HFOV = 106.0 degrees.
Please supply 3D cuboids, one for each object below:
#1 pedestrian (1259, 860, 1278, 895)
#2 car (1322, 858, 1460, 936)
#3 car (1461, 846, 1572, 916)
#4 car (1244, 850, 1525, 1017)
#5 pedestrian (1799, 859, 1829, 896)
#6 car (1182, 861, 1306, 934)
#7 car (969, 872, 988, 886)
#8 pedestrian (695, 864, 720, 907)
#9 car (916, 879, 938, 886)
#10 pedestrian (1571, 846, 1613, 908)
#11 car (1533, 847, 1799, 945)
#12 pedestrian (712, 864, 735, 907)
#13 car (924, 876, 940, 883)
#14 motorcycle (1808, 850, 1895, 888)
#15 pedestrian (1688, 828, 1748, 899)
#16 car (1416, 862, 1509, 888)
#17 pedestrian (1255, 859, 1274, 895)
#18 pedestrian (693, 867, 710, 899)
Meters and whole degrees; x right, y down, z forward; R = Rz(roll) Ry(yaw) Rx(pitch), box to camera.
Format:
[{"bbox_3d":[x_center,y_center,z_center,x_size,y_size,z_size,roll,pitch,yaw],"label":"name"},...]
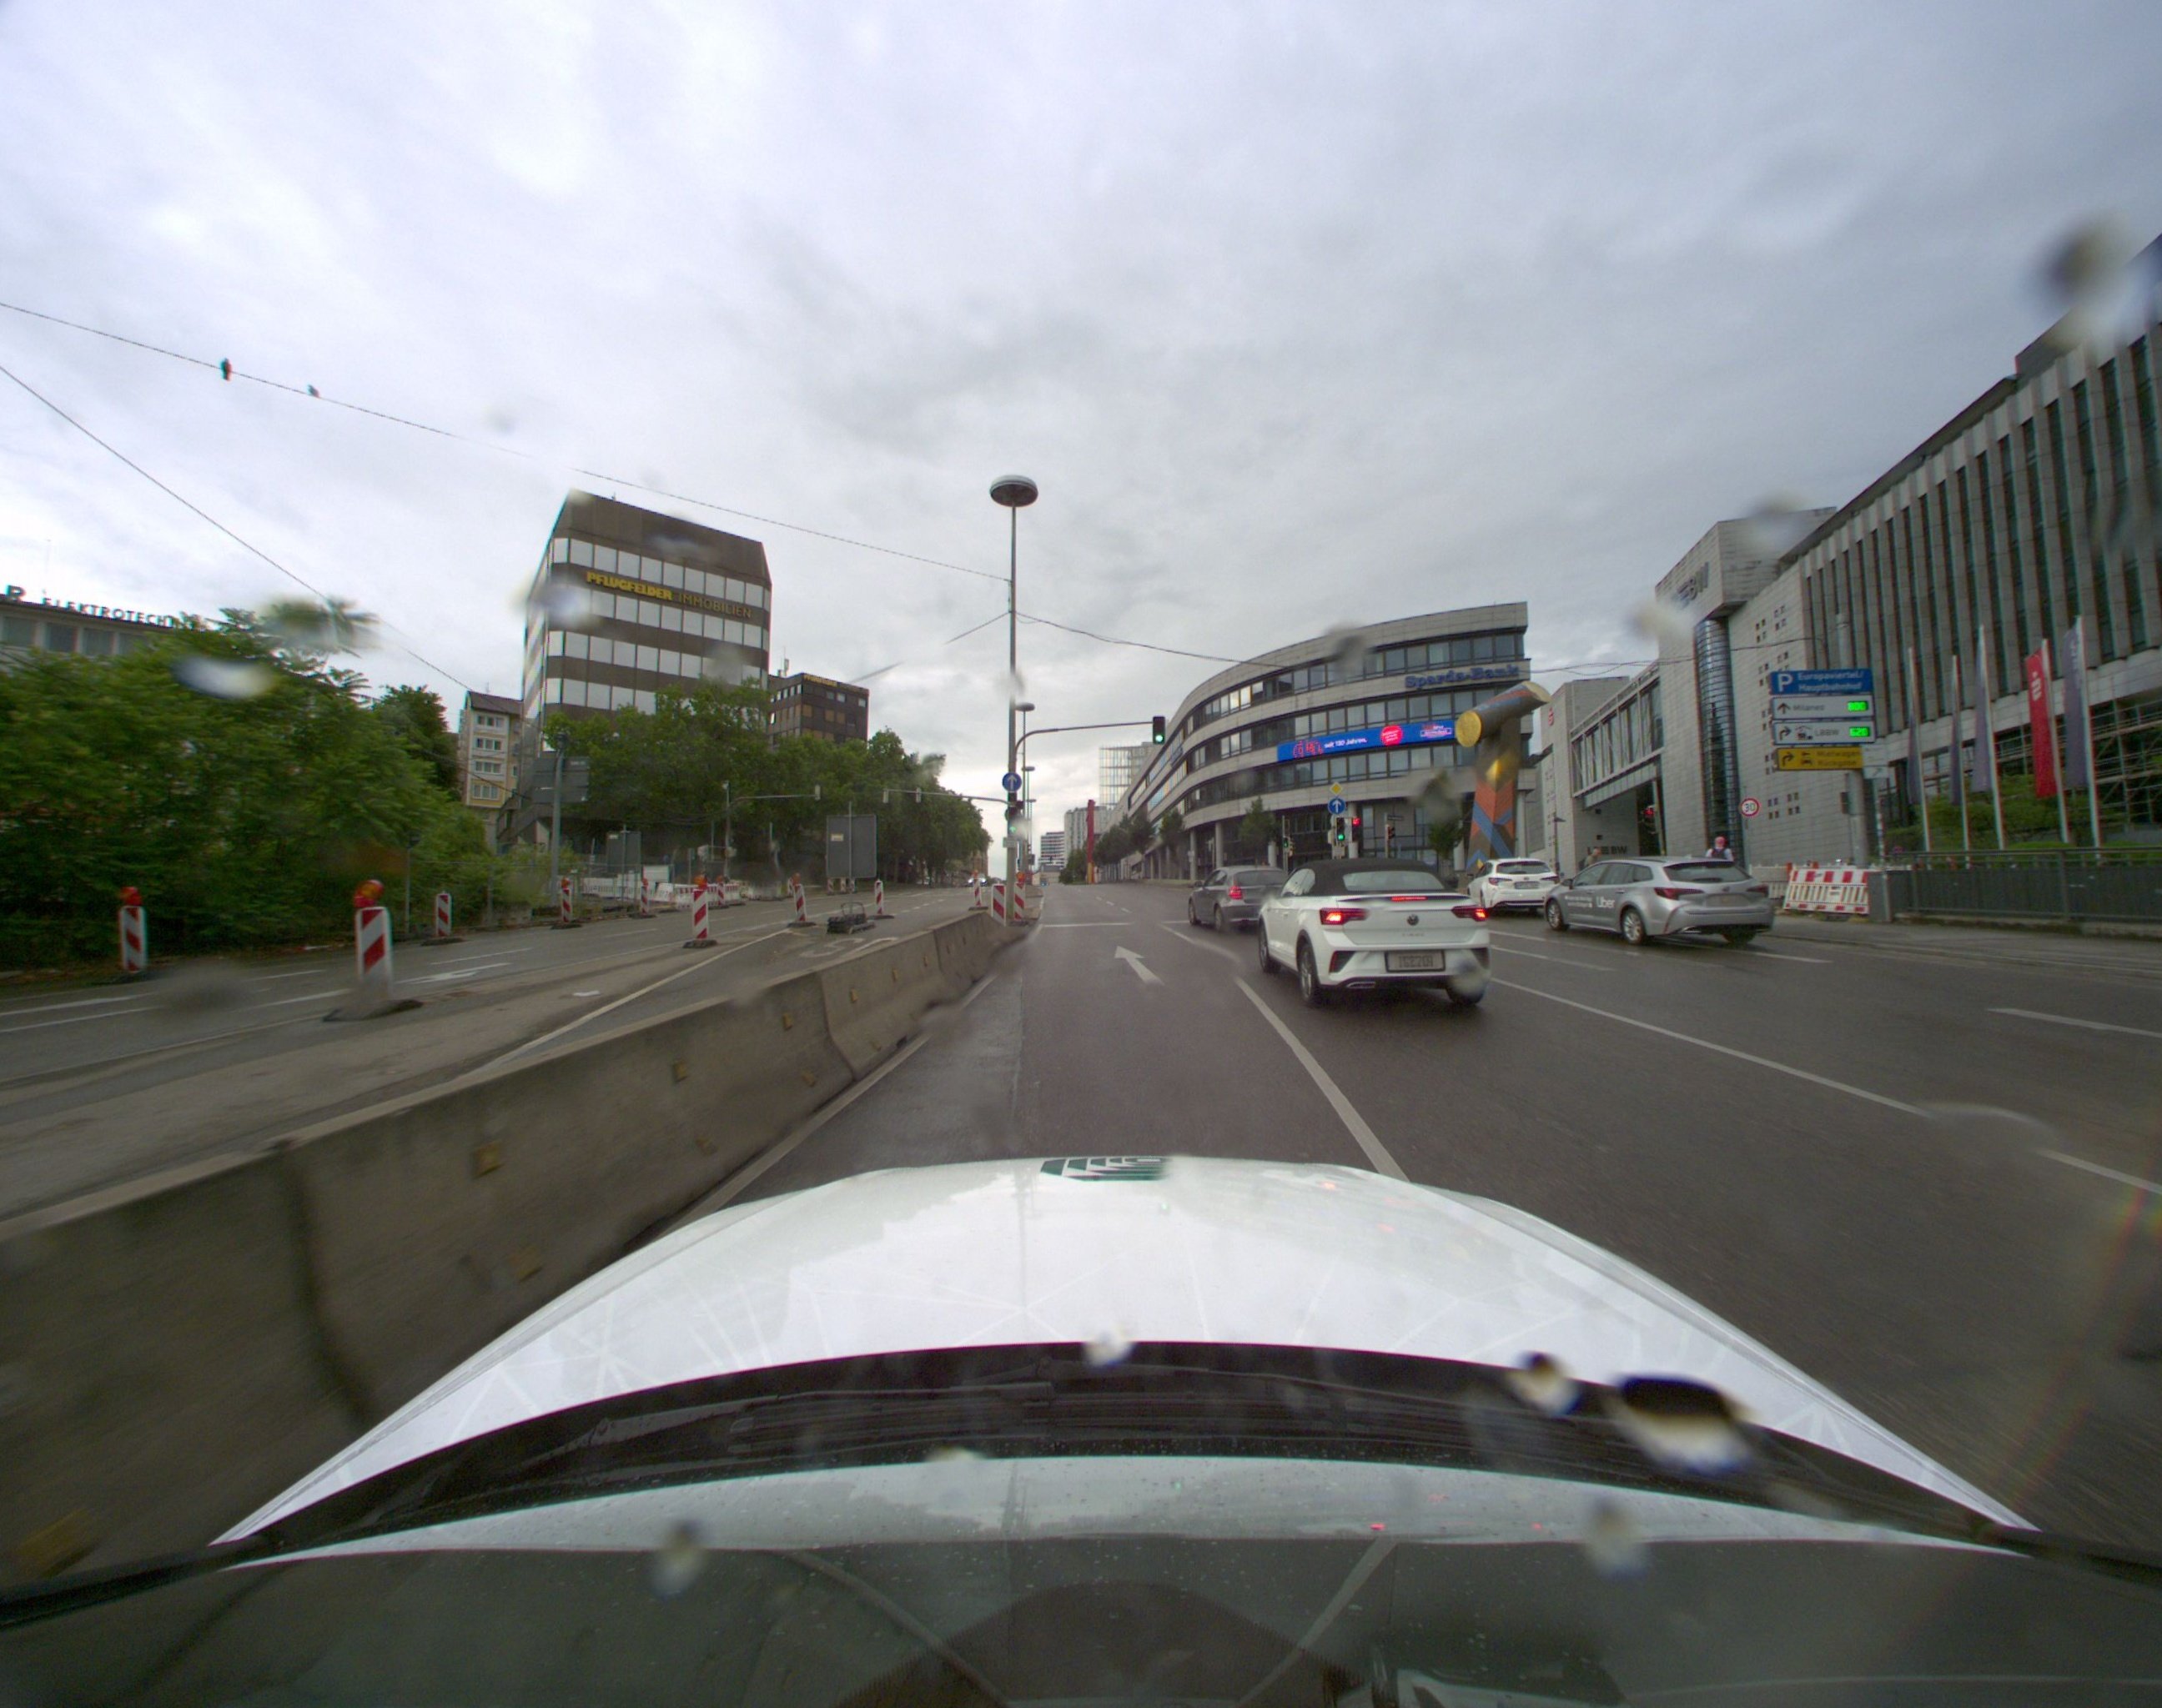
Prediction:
[{"bbox_3d":[10.334,1.300,44.907,0.833,1.905,0.736,-2,-2,23],"label":"pedestrian"},{"bbox_3d":[6.716,0.925,18.129,1.746,1.407,4.233,-4,-2,6],"label":"car"},{"bbox_3d":[11.323,0.667,21.480,1.757,1.634,4.601,-1,-1,18],"label":"car"},{"bbox_3d":[3.280,0.788,9.798,1.956,1.549,4.221,-1,-1,2],"label":"car"},{"bbox_3d":[36.432,1.193,40.489,0.958,1.818,0.785,-3,-4,38],"label":"pedestrian"},{"bbox_3d":[3.543,0.915,18.442,1.736,1.443,3.993,-1,-1,-4],"label":"car"},{"bbox_3d":[-11.265,2.721,89.536,1.757,1.461,4.354,-2,-1,-3],"label":"car"},{"bbox_3d":[-16.856,1.427,36.774,0.758,1.923,0.742,-1,-4,0],"label":"pedestrian"},{"bbox_3d":[-33.060,6.084,174.523,1.801,1.511,4.606,-5,-4,35],"label":"car"},{"bbox_3d":[17.571,0.791,28.012,0.856,2.099,0.897,2,-2,-26],"label":"pedestrian"},{"bbox_3d":[9.914,0.711,14.354,1.692,1.451,4.622,0,-2,5],"label":"car"},{"bbox_3d":[-16.106,1.437,36.739,0.670,1.902,0.775,-1,-4,0],"label":"pedestrian"},{"bbox_3d":[-36.759,6.281,201.400,3.624,1.701,1.821,-2,-3,-6],"label":"car"},{"bbox_3d":[25.512,0.484,26.971,2.564,1.081,0.633,-4,-1,-10],"label":"motorcycle"},{"bbox_3d":[15.638,0.250,20.017,0.728,1.711,0.842,0,-4,-3],"label":"pedestrian"},{"bbox_3d":[22.627,1.284,48.488,4.671,1.442,1.871,-1,-3,8],"label":"car"},{"bbox_3d":[9.915,1.270,44.007,0.833,1.905,0.866,-2,-4,23],"label":"pedestrian"},{"bbox_3d":[-22.630,1.759,48.585,0.741,1.881,0.744,0,-4,-12],"label":"pedestrian"}]
